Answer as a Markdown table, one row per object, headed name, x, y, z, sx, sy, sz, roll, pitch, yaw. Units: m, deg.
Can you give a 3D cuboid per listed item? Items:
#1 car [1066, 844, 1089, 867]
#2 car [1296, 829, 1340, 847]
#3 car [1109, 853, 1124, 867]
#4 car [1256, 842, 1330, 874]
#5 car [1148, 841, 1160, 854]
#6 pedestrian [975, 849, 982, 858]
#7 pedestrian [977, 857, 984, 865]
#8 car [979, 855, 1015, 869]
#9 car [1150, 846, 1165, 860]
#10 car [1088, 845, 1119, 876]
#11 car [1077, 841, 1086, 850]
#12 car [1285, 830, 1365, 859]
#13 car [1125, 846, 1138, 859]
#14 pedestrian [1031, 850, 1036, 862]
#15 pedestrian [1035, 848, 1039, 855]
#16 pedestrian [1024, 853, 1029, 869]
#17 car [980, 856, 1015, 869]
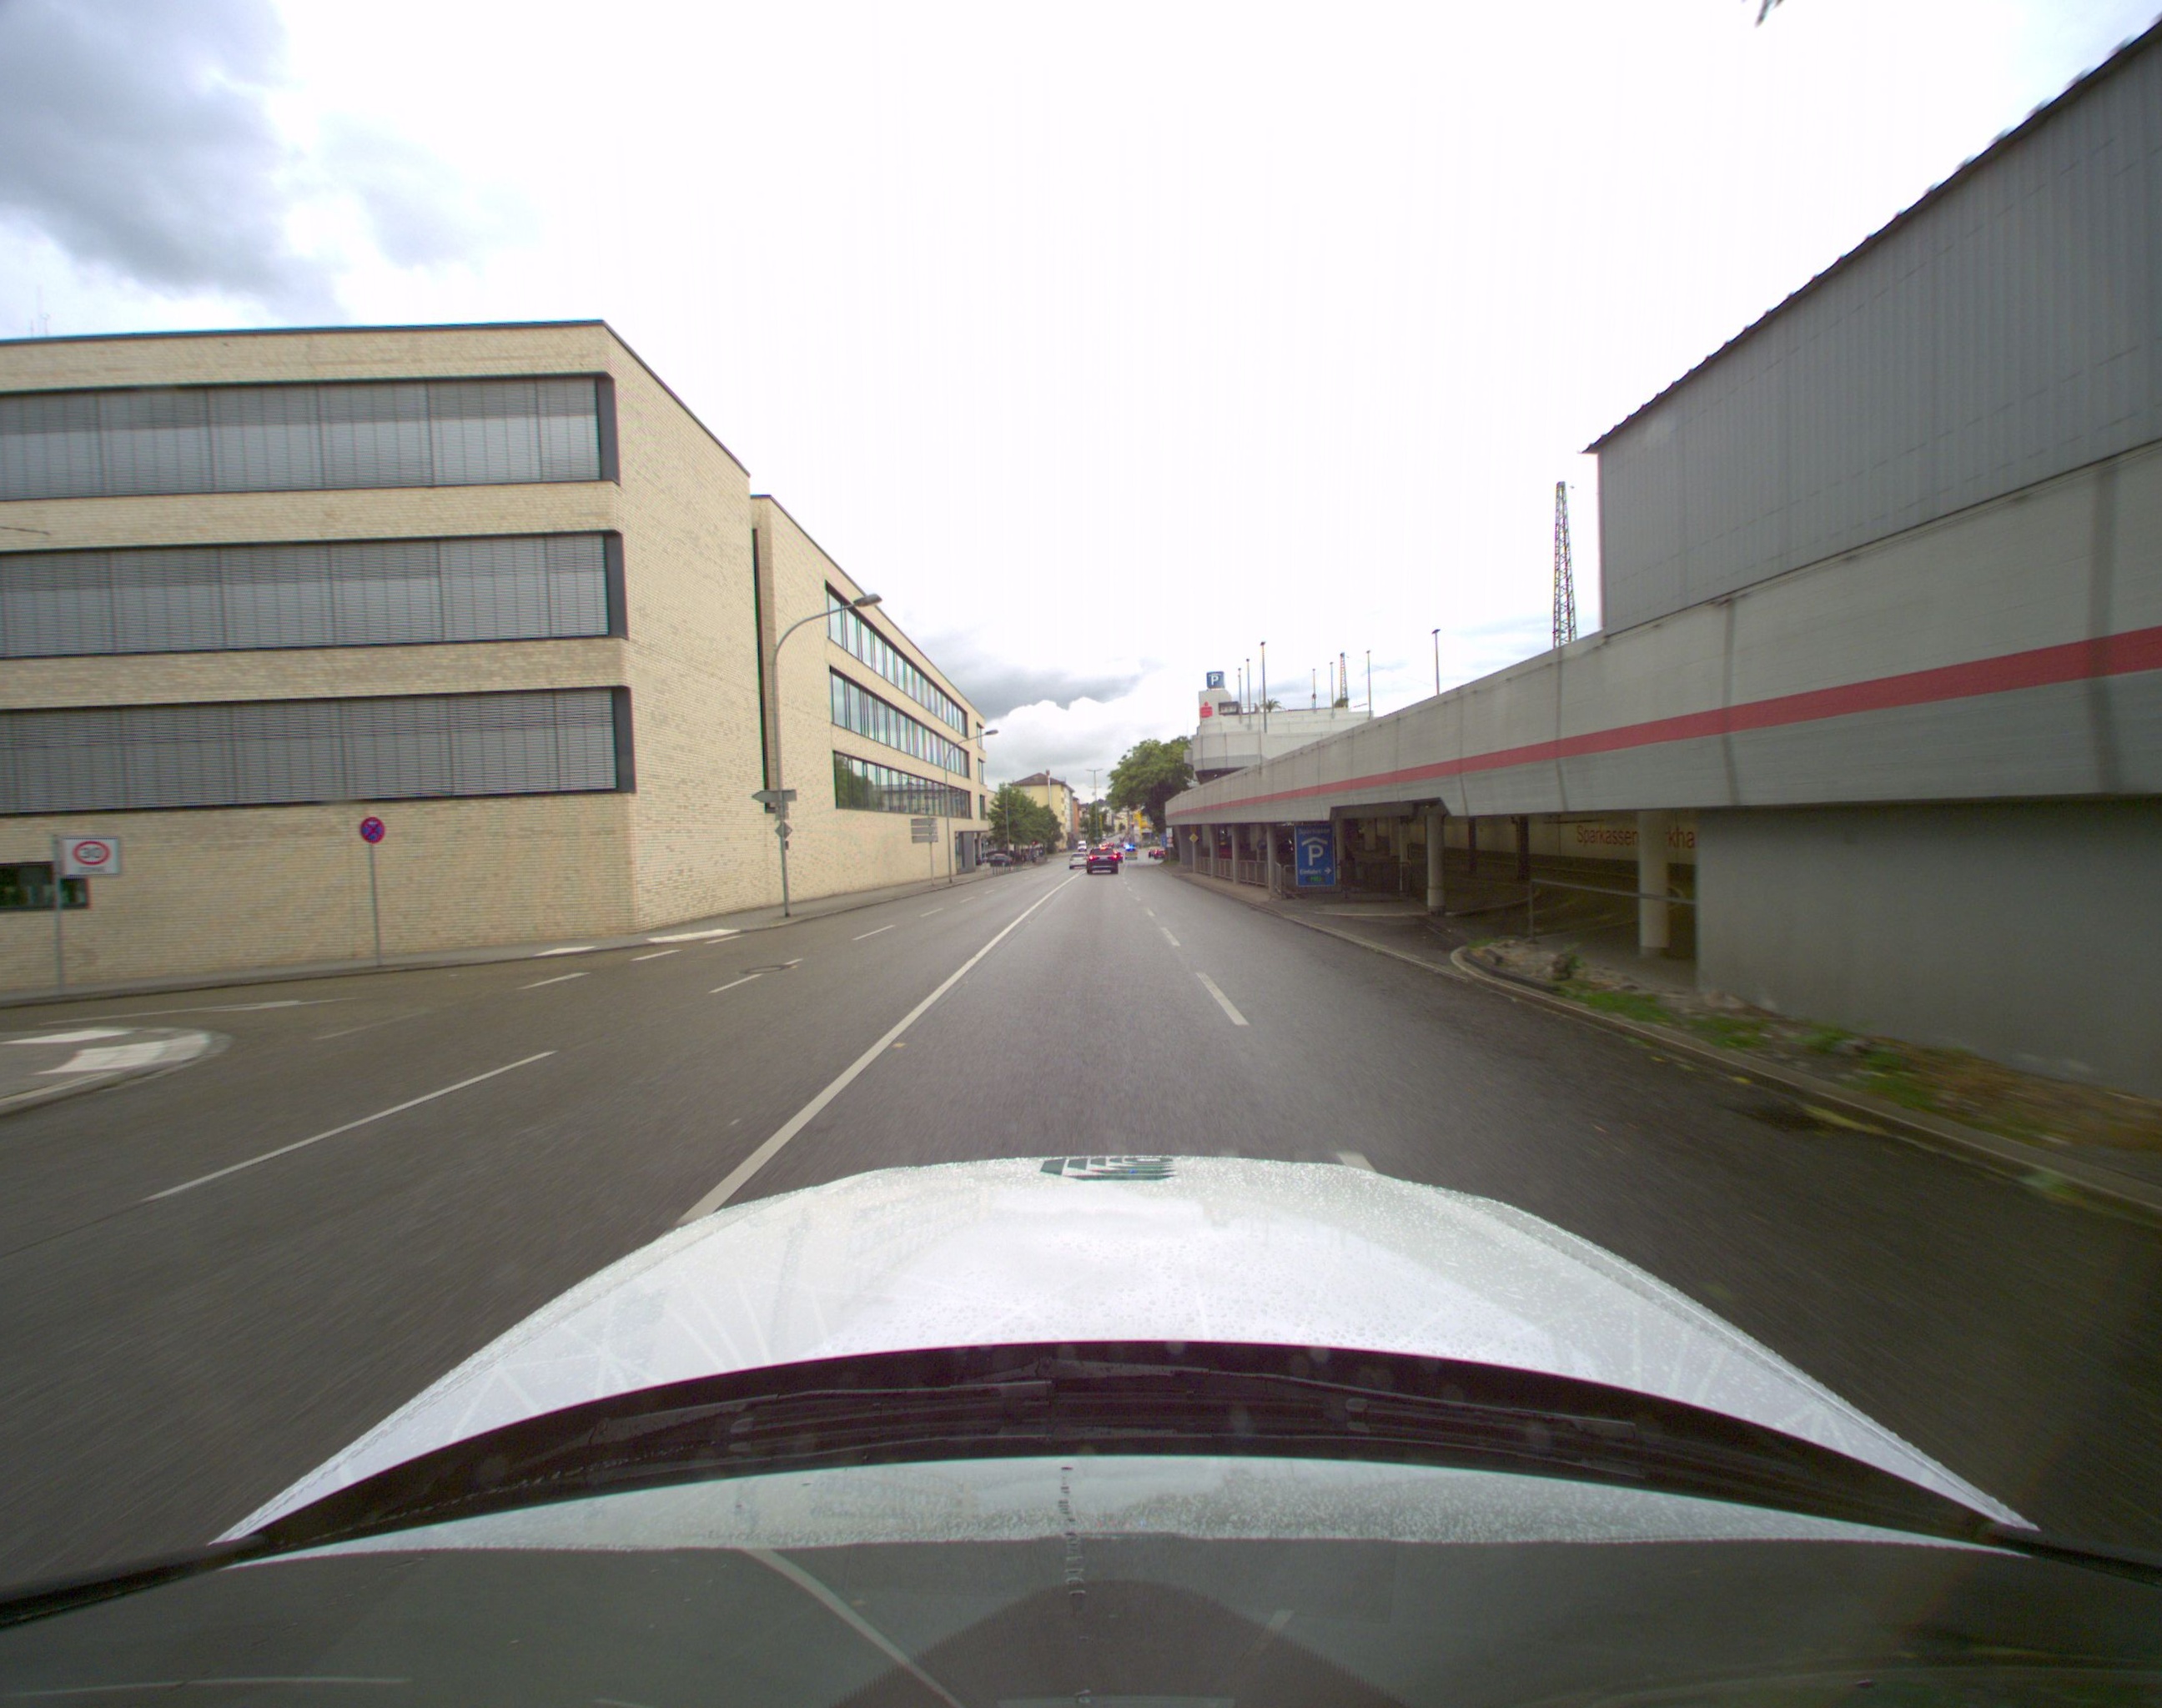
| name | x | y | z | sx | sy | sz | roll | pitch | yaw |
| --- | --- | --- | --- | --- | --- | --- | --- | --- | --- |
| car | -0.303 | 0.162 | 74.622 | 1.986 | 2.014 | 4.001 | 0 | -1 | 2 |
| car | 22.953 | -1.572 | 78.857 | 3.960 | 1.640 | 2.006 | -1 | -1 | 12 |
| car | 4.431 | 0.701 | 100.697 | 1.698 | 1.716 | 3.442 | 0 | -1 | 0 |
| car | 11.521 | 0.198 | 44.439 | 3.700 | 1.505 | 1.812 | -4 | 1 | 10 |
| car | 12.220 | -1.103 | 136.558 | 1.984 | 2.128 | 4.006 | 0 | -1 | 5 |
| pedestrian | -11.180 | -0.058 | 88.992 | 0.678 | 0.886 | 0.525 | 0 | -1 | 3 |
| pedestrian | -10.498 | 0.755 | 84.894 | 0.595 | 0.786 | 0.761 | 0 | -1 | 3 |
| car | -10.686 | 1.016 | 104.008 | 4.459 | 1.587 | 1.998 | -3 | 0 | -4 |
| car | 11.698 | -0.166 | 124.877 | 1.986 | 2.013 | 4.001 | -1 | 0 | 1 |
| car | 1.506 | 0.443 | 55.022 | 1.986 | 2.014 | 4.001 | 0 | -1 | 2 |
| car | 0.089 | -2.037 | 193.691 | 1.986 | 1.875 | 5.143 | 0 | -1 | 1 |
| car | 14.630 | -0.558 | 49.034 | 4.544 | 1.640 | 1.828 | -1 | -1 | 13 |
| car | 7.858 | -0.255 | 126.926 | 1.986 | 2.014 | 4.001 | 0 | -1 | 2 |
| pedestrian | -7.239 | 0.329 | 124.788 | 0.686 | 1.726 | 0.754 | 0 | -3 | 2 |
| pedestrian | -8.496 | -0.476 | 157.100 | 0.708 | 1.462 | 0.598 | 0 | -1 | 1 |
| pedestrian | -7.053 | 0.878 | 104.950 | 0.585 | 2.014 | 0.749 | 0 | -1 | 1 |
| car | -10.868 | 1.139 | 106.119 | 4.408 | 1.573 | 1.997 | -1 | 2 | -4 |
